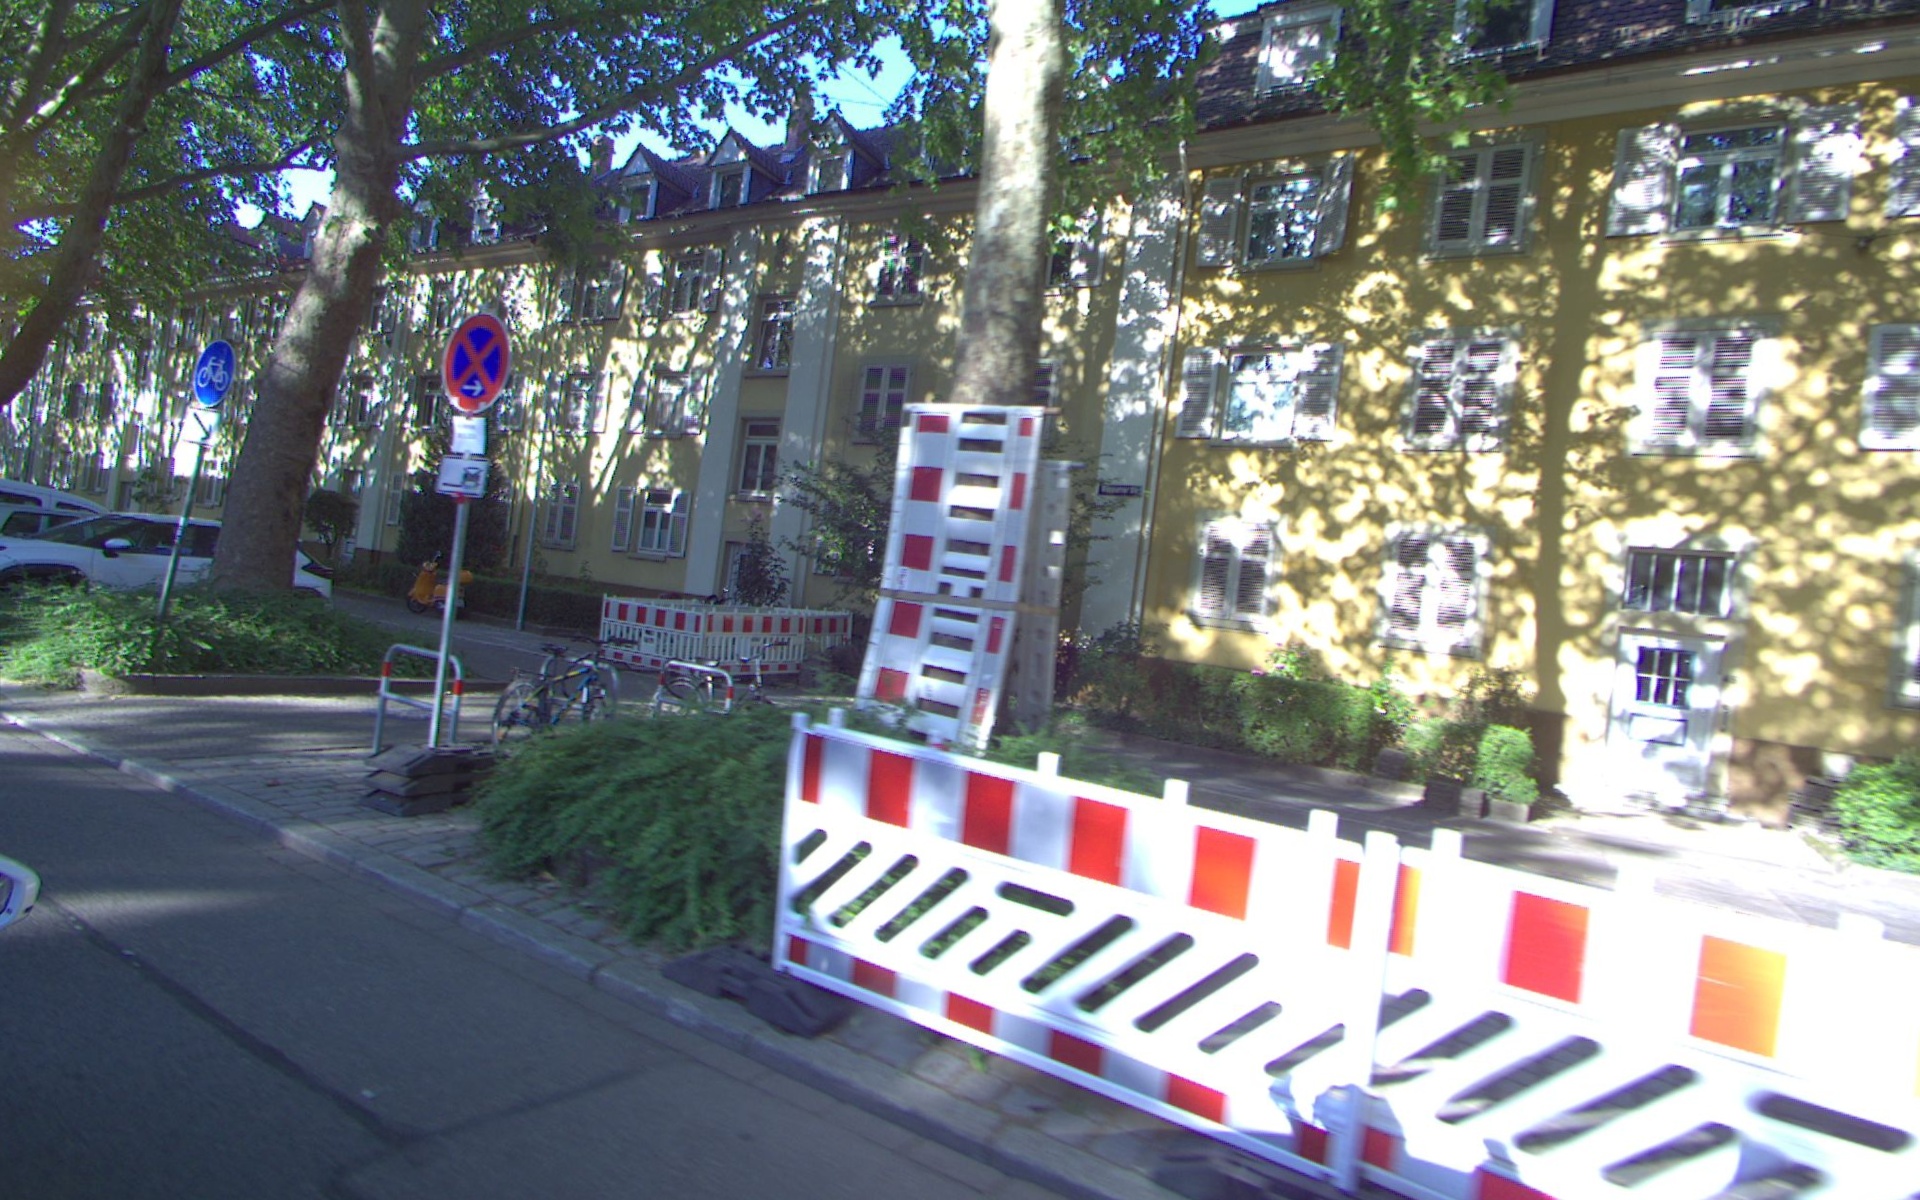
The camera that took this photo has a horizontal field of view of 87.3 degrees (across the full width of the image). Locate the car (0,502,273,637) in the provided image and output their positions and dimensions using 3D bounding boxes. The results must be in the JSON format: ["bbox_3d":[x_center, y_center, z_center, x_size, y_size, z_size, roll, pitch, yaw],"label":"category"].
[{"bbox_3d":[-11.999,-0.455,13.729,1.822,1.449,3.848,7,-2,35],"label":"car"}]

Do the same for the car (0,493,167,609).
[{"bbox_3d":[-15.389,-0.925,15.647,1.773,1.560,4.375,8,-1,35],"label":"car"}]

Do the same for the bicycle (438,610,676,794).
[{"bbox_3d":[-3.085,0.738,7.649,1.779,1.083,0.636,7,-1,31],"label":"bicycle"}]

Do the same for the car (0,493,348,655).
[{"bbox_3d":[-10.144,-0.298,12.260,1.884,1.539,4.097,6,-2,30],"label":"car"}]

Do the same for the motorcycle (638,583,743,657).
[{"bbox_3d":[-5.365,0.426,20.161,0.701,1.264,1.994,7,-1,30],"label":"motorcycle"}]

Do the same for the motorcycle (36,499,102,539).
[{"bbox_3d":[-35.367,-3.204,39.965,0.611,1.379,1.805,7,2,28],"label":"motorcycle"}]

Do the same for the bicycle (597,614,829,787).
[{"bbox_3d":[-2.172,0.831,8.740,1.916,1.168,0.692,7,-1,31],"label":"bicycle"}]

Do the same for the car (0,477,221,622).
[{"bbox_3d":[-13.581,-0.813,14.787,1.886,1.792,3.848,7,-2,35],"label":"car"}]

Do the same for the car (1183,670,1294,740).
[{"bbox_3d":[4.420,1.658,16.013,1.548,0.861,0.446,7,-3,32],"label":"car"}]

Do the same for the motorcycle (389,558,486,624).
[{"bbox_3d":[-11.323,-0.208,21.780,2.226,1.167,0.716,7,0,31],"label":"motorcycle"}]
